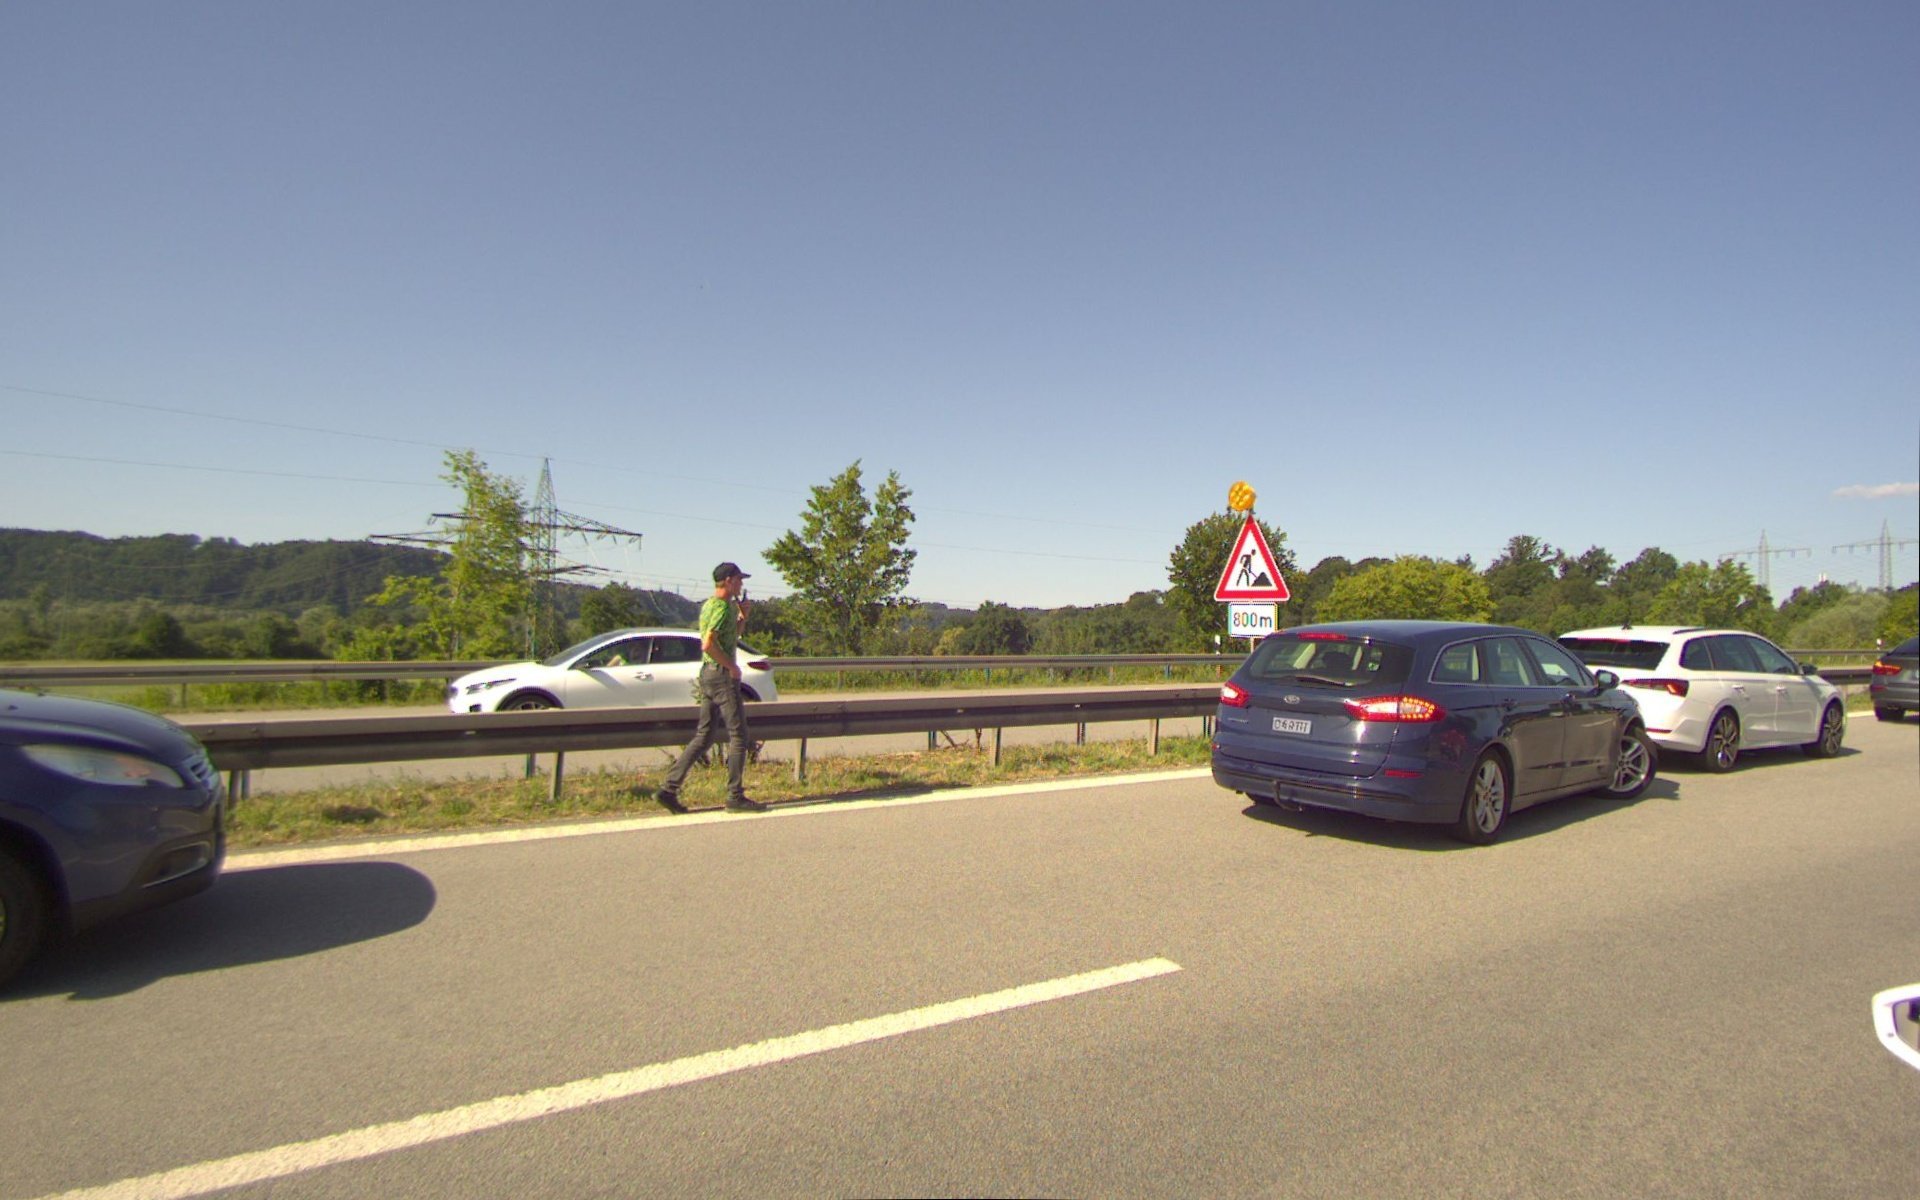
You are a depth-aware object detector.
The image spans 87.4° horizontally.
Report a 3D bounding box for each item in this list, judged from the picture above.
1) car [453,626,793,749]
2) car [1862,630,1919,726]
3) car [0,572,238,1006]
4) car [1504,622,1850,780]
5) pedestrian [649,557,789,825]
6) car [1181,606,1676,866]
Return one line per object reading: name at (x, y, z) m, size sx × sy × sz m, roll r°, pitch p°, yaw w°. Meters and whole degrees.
car at (-4.644, 1.130, 14.002) m, size 4.253 × 1.445 × 1.687 m, roll 1°, pitch 0°, yaw -30°
car at (16.511, 1.240, 16.245) m, size 4.284 × 1.445 × 1.686 m, roll 1°, pitch 0°, yaw -31°
car at (-4.988, 0.635, 3.517) m, size 3.909 × 1.555 × 1.677 m, roll 1°, pitch 0°, yaw -35°
car at (8.183, 1.024, 11.383) m, size 4.162 × 1.461 × 1.686 m, roll 1°, pitch 0°, yaw -31°
pedestrian at (-1.726, 0.616, 7.164) m, size 0.805 × 1.773 × 0.667 m, roll 1°, pitch -2°, yaw -30°
car at (3.876, 0.856, 7.946) m, size 4.454 × 1.513 × 1.774 m, roll 2°, pitch -2°, yaw -39°
